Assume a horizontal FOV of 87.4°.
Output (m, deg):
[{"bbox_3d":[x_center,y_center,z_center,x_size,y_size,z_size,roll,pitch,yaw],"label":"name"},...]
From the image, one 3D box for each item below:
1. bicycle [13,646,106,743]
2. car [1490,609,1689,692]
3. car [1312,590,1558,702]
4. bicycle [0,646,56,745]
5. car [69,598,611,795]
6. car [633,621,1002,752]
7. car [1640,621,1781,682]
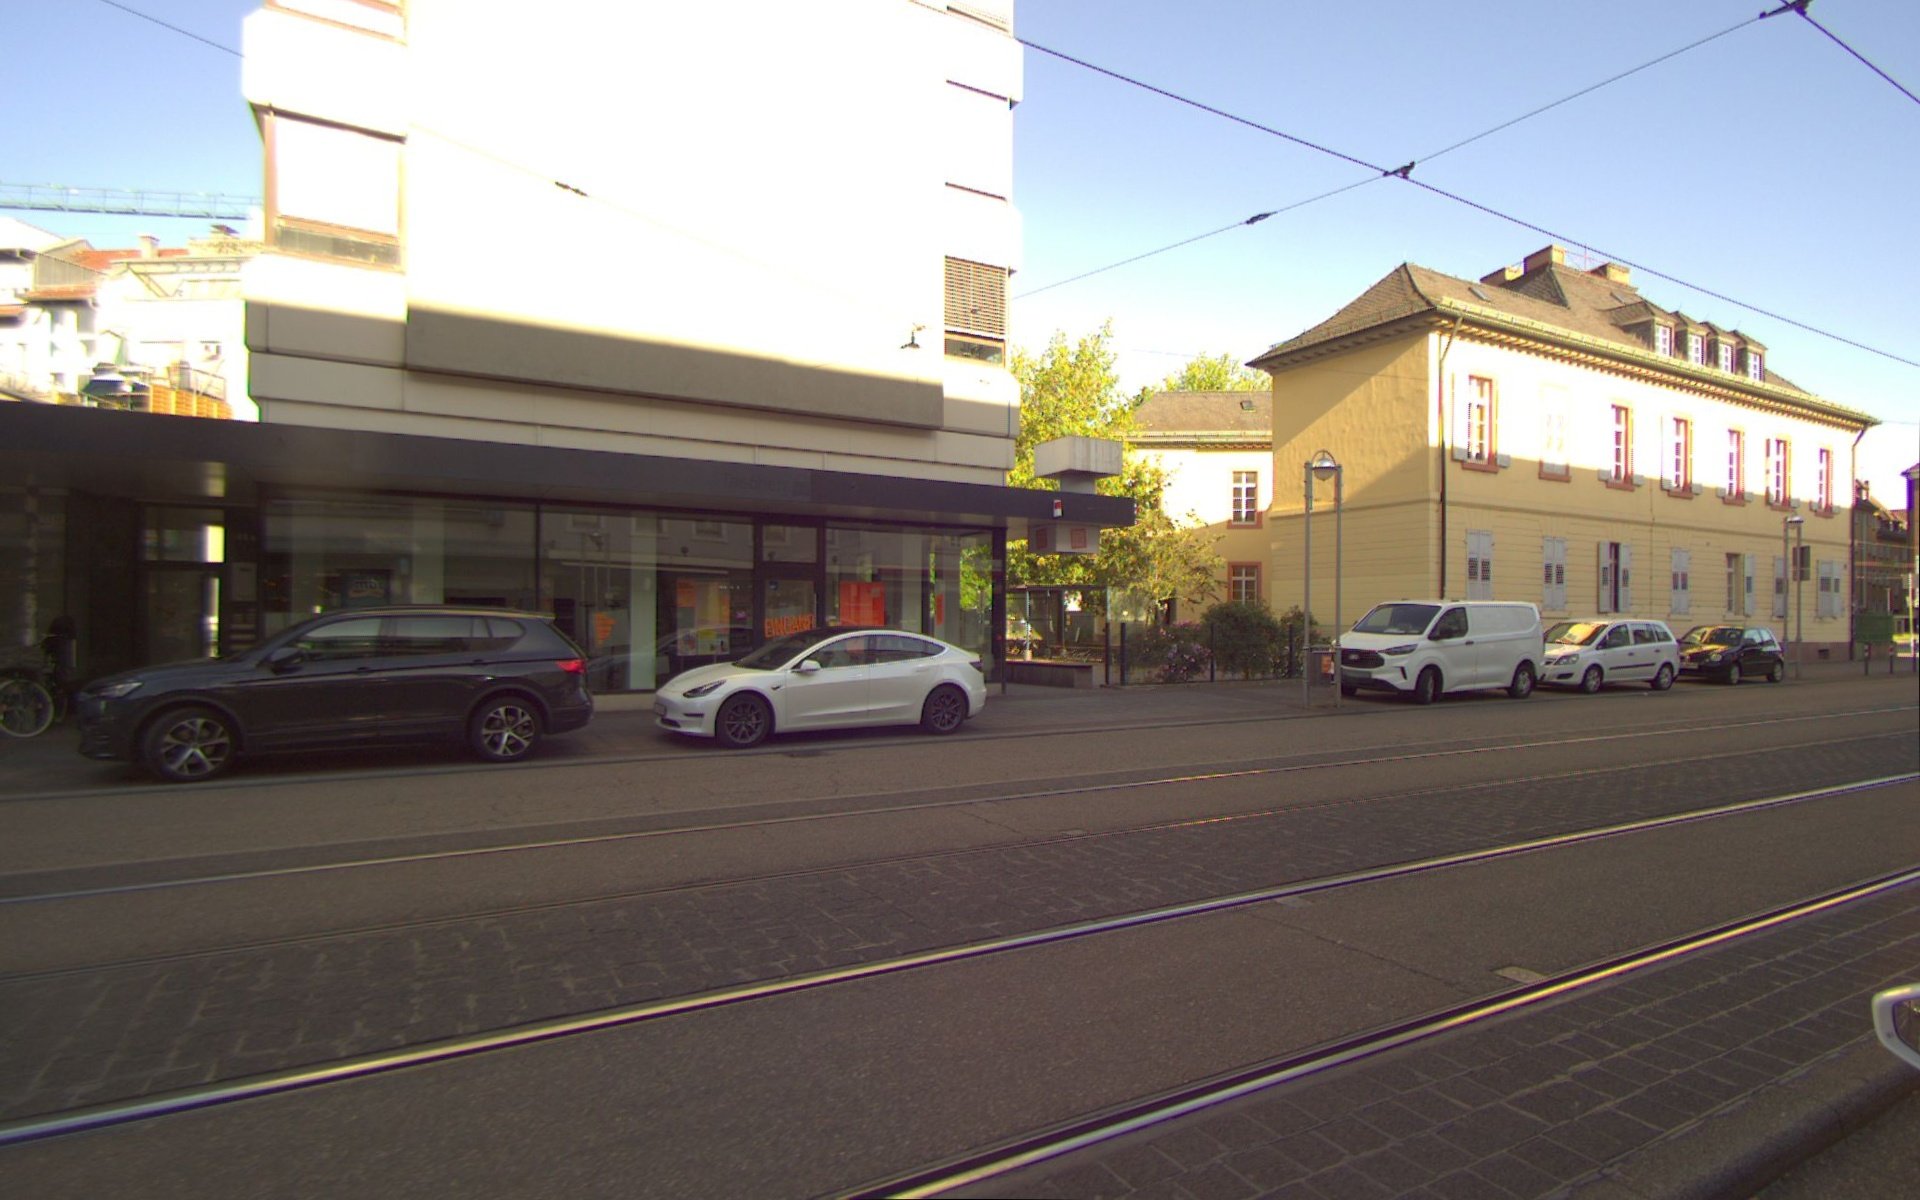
[{"bbox_3d":[-11.328,1.148,12.683,0.418,1.012,1.928,1,1,-28],"label":"bicycle"},{"bbox_3d":[14.552,1.111,23.164,4.589,1.708,1.800,1,1,-28],"label":"car"},{"bbox_3d":[9.650,0.871,20.297,5.037,2.001,1.983,1,1,-31],"label":"car"},{"bbox_3d":[-11.682,1.139,12.352,0.376,1.012,1.928,1,1,-28],"label":"bicycle"},{"bbox_3d":[-6.379,0.897,10.920,4.599,1.701,1.969,1,1,-30],"label":"car"},{"bbox_3d":[-1.869,1.057,13.647,4.603,1.440,1.878,1,1,-31],"label":"car"},{"bbox_3d":[19.389,1.290,25.927,3.677,1.419,1.606,1,1,-31],"label":"car"}]
